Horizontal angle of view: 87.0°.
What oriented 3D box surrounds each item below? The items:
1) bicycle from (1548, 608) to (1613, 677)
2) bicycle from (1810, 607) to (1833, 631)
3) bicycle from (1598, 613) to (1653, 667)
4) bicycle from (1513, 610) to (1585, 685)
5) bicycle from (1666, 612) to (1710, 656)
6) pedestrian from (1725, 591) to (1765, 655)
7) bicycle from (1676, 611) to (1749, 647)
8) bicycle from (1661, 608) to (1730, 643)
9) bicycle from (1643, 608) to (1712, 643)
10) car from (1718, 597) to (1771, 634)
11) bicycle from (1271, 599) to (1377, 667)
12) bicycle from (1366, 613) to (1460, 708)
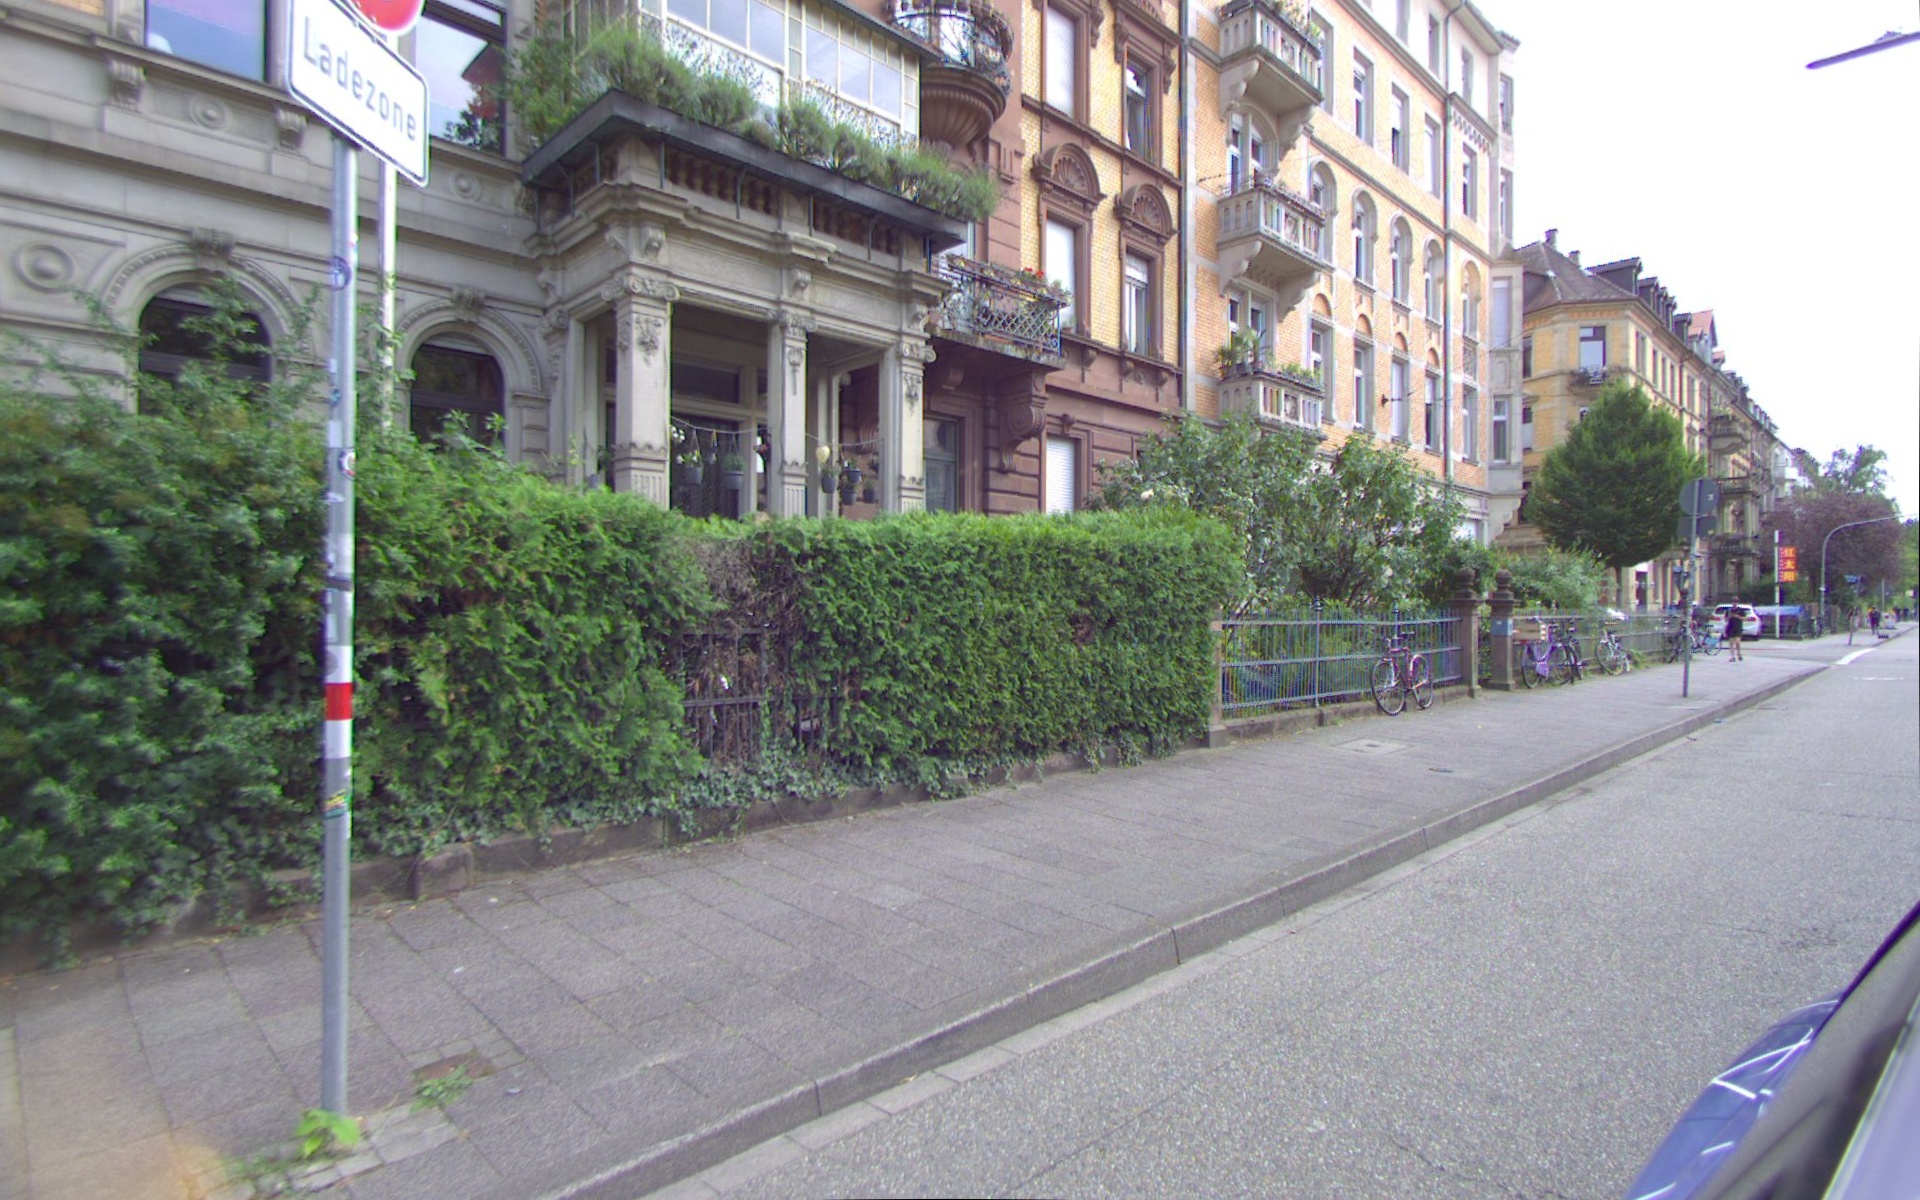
[{"bbox_3d":[11.075,0.724,18.032,0.579,1.125,1.645,5,3,44],"label":"bicycle"},{"bbox_3d":[40.490,0.878,47.578,1.843,1.127,0.629,0,0,-44],"label":"bicycle"},{"bbox_3d":[13.565,0.798,20.600,0.579,0.995,1.645,5,3,44],"label":"bicycle"},{"bbox_3d":[9.707,0.747,16.653,0.579,1.125,1.645,5,3,44],"label":"bicycle"},{"bbox_3d":[17.727,0.814,24.630,0.579,0.995,1.645,5,3,44],"label":"bicycle"},{"bbox_3d":[20.776,0.592,26.770,0.821,1.644,0.731,1,-1,-44],"label":"pedestrian"},{"bbox_3d":[23.660,0.907,31.823,1.838,1.127,0.631,0,0,-1],"label":"bicycle"},{"bbox_3d":[25.288,0.873,34.843,0.522,1.142,1.896,0,0,-27],"label":"bicycle"},{"bbox_3d":[24.326,0.849,34.345,0.521,1.142,1.897,0,0,-23],"label":"bicycle"},{"bbox_3d":[34.946,0.658,45.043,1.749,1.545,3.942,0,0,40],"label":"car"},{"bbox_3d":[6.400,0.552,17.842,1.667,1.126,0.602,1,0,45],"label":"bicycle"},{"bbox_3d":[5.861,0.743,13.052,0.579,1.126,1.645,0,0,44],"label":"bicycle"}]
